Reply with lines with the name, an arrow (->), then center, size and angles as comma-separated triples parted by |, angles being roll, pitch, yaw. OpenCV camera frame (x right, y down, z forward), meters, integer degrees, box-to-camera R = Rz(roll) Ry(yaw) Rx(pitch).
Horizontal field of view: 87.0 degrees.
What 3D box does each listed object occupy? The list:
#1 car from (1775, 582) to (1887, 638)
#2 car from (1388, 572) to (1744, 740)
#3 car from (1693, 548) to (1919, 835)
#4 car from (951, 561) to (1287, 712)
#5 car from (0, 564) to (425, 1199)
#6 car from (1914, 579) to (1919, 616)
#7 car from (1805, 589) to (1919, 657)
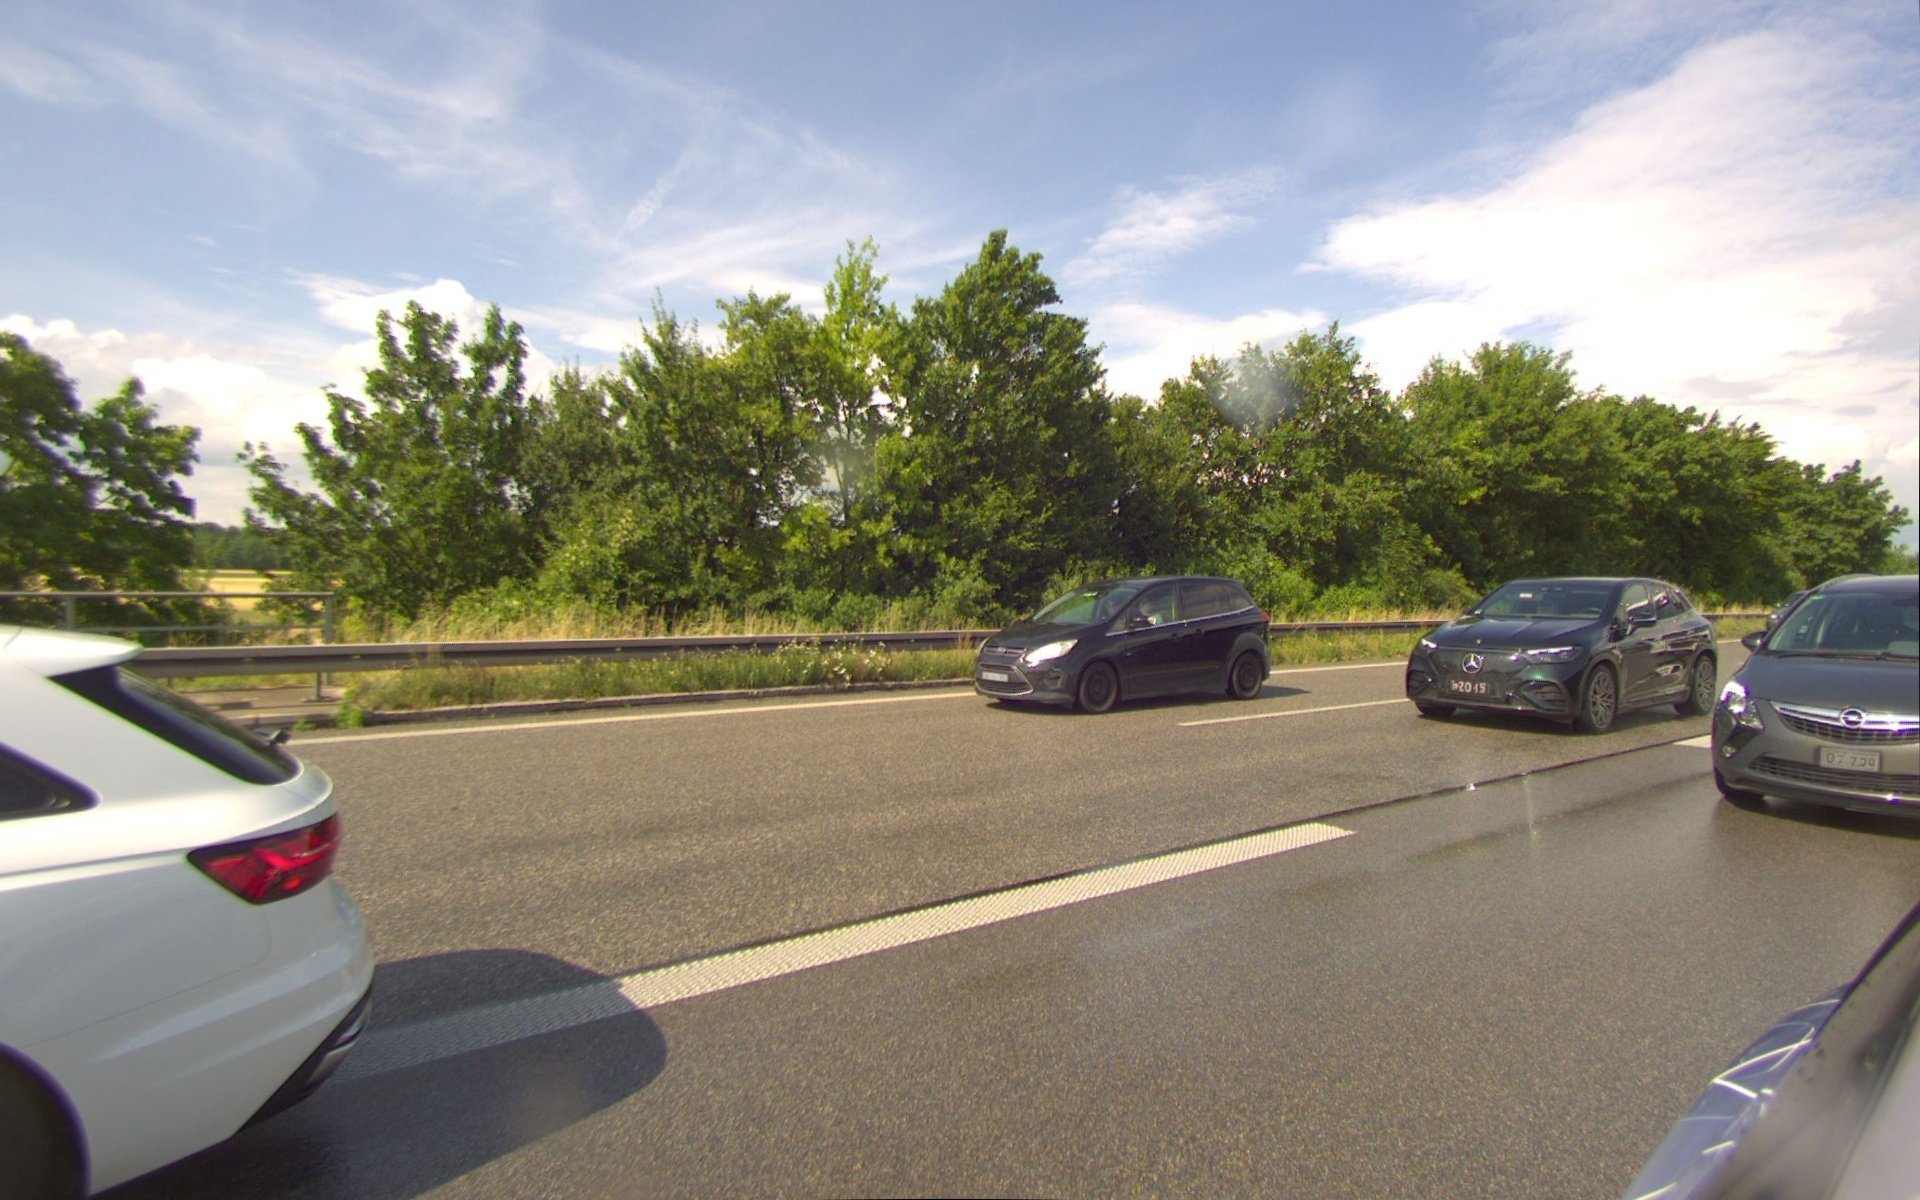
car -> 26.398, 0.251, 30.635 | 4.207, 1.606, 1.753 | -1, 1, -37
car -> 7.199, 0.504, 11.863 | 4.567, 1.601, 1.999 | 0, 1, -37
car -> 7.203, 0.518, 7.321 | 4.315, 1.668, 1.884 | 0, 1, -37
car -> 2.138, 0.383, 13.019 | 4.282, 1.641, 1.826 | 0, 0, -37
car -> -3.490, 0.651, 1.521 | 4.438, 1.443, 1.828 | -1, 2, -45
car -> 40.746, -0.130, 41.418 | 4.423, 1.481, 1.792 | -1, 1, -37
car -> 21.286, 0.472, 23.315 | 4.426, 1.428, 1.757 | 0, 1, -36
